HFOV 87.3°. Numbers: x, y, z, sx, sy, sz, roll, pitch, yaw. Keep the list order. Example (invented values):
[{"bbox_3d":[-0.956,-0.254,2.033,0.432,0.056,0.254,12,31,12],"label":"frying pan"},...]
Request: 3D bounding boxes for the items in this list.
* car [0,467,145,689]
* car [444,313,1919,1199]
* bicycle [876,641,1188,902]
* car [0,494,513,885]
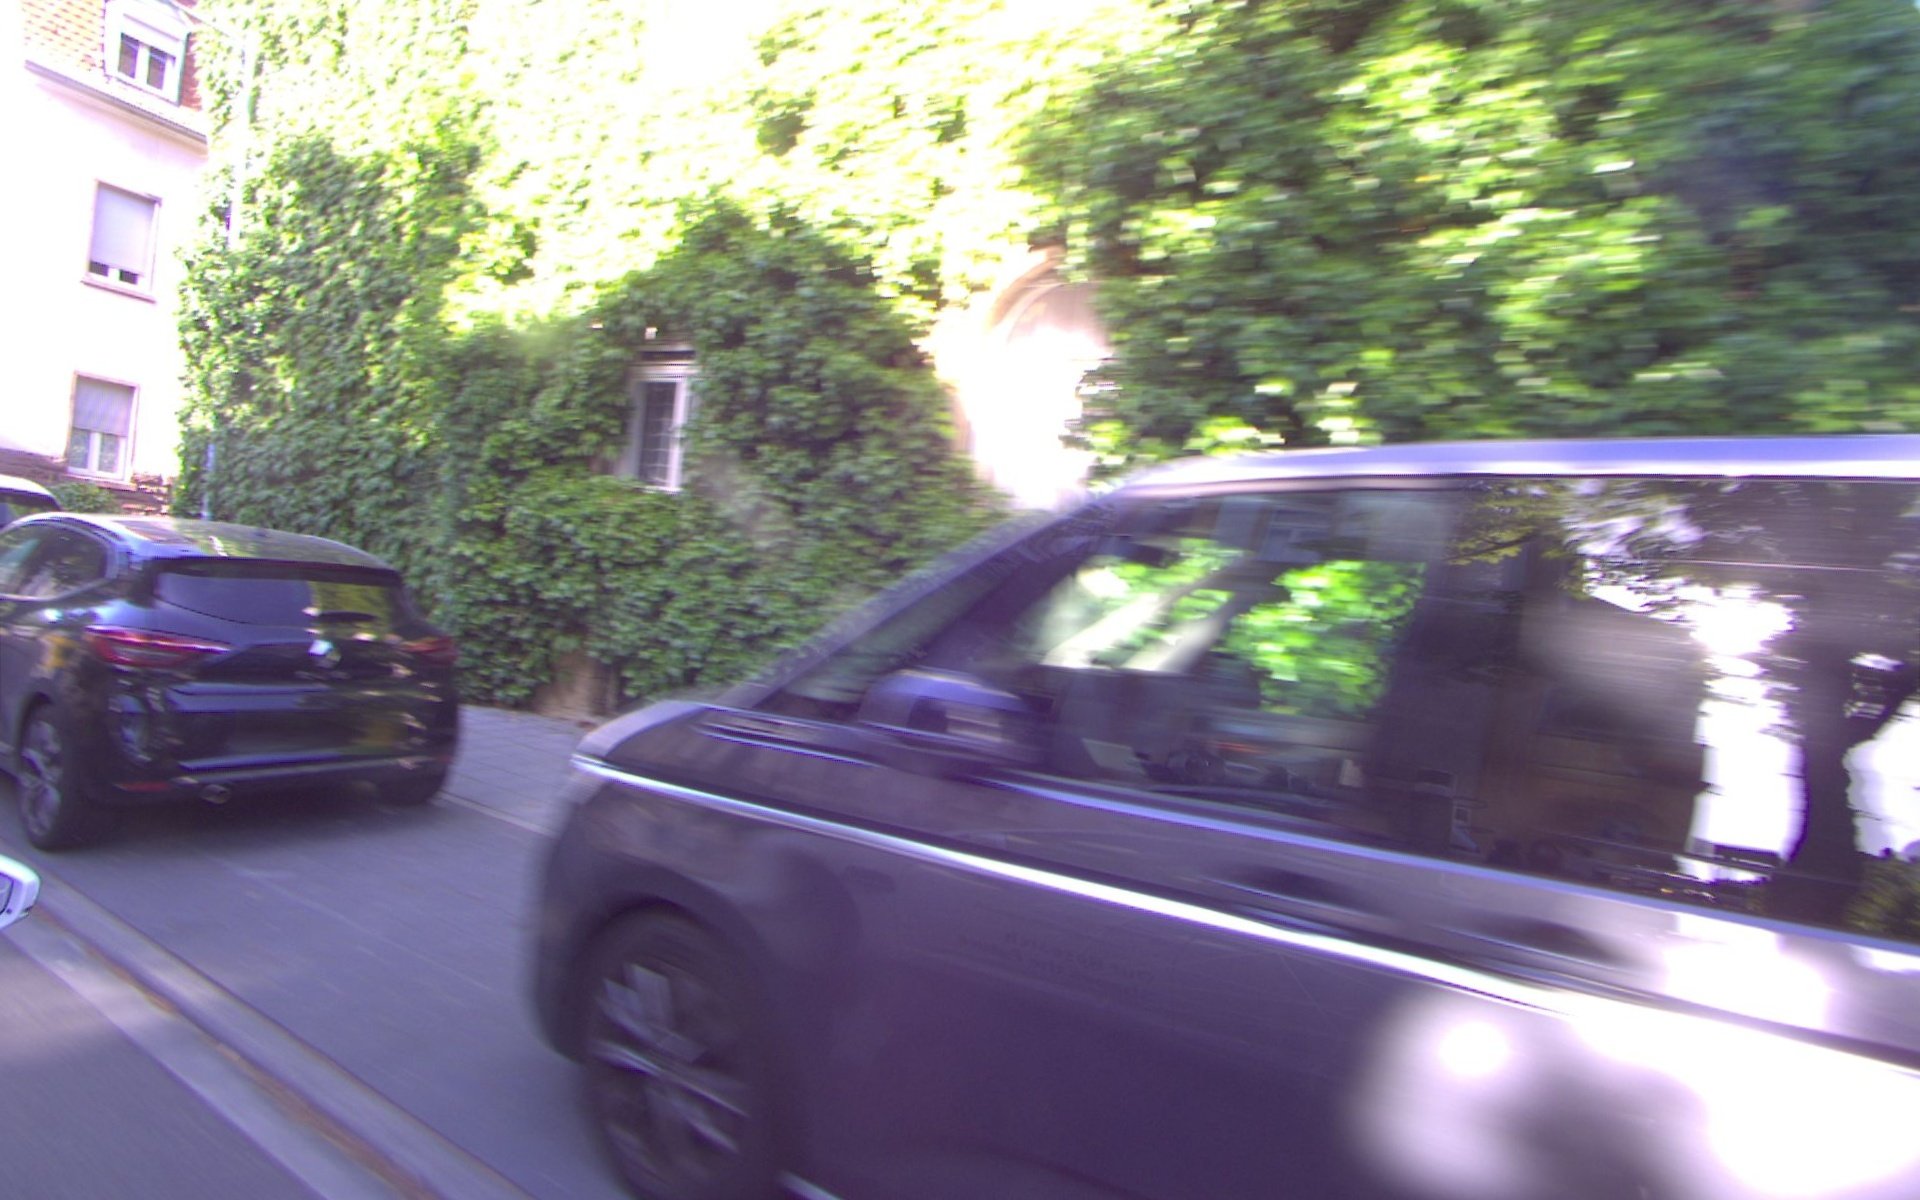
[{"bbox_3d":[-8.969,-0.362,8.567,4.130,1.666,1.868,7,1,32],"label":"car"},{"bbox_3d":[1.198,0.639,2.204,4.771,1.933,1.854,7,1,32],"label":"car"},{"bbox_3d":[0.369,0.891,5.683,1.631,1.125,0.461,7,3,32],"label":"bicycle"},{"bbox_3d":[-4.498,0.239,5.620,3.942,1.440,1.638,7,1,32],"label":"car"}]
